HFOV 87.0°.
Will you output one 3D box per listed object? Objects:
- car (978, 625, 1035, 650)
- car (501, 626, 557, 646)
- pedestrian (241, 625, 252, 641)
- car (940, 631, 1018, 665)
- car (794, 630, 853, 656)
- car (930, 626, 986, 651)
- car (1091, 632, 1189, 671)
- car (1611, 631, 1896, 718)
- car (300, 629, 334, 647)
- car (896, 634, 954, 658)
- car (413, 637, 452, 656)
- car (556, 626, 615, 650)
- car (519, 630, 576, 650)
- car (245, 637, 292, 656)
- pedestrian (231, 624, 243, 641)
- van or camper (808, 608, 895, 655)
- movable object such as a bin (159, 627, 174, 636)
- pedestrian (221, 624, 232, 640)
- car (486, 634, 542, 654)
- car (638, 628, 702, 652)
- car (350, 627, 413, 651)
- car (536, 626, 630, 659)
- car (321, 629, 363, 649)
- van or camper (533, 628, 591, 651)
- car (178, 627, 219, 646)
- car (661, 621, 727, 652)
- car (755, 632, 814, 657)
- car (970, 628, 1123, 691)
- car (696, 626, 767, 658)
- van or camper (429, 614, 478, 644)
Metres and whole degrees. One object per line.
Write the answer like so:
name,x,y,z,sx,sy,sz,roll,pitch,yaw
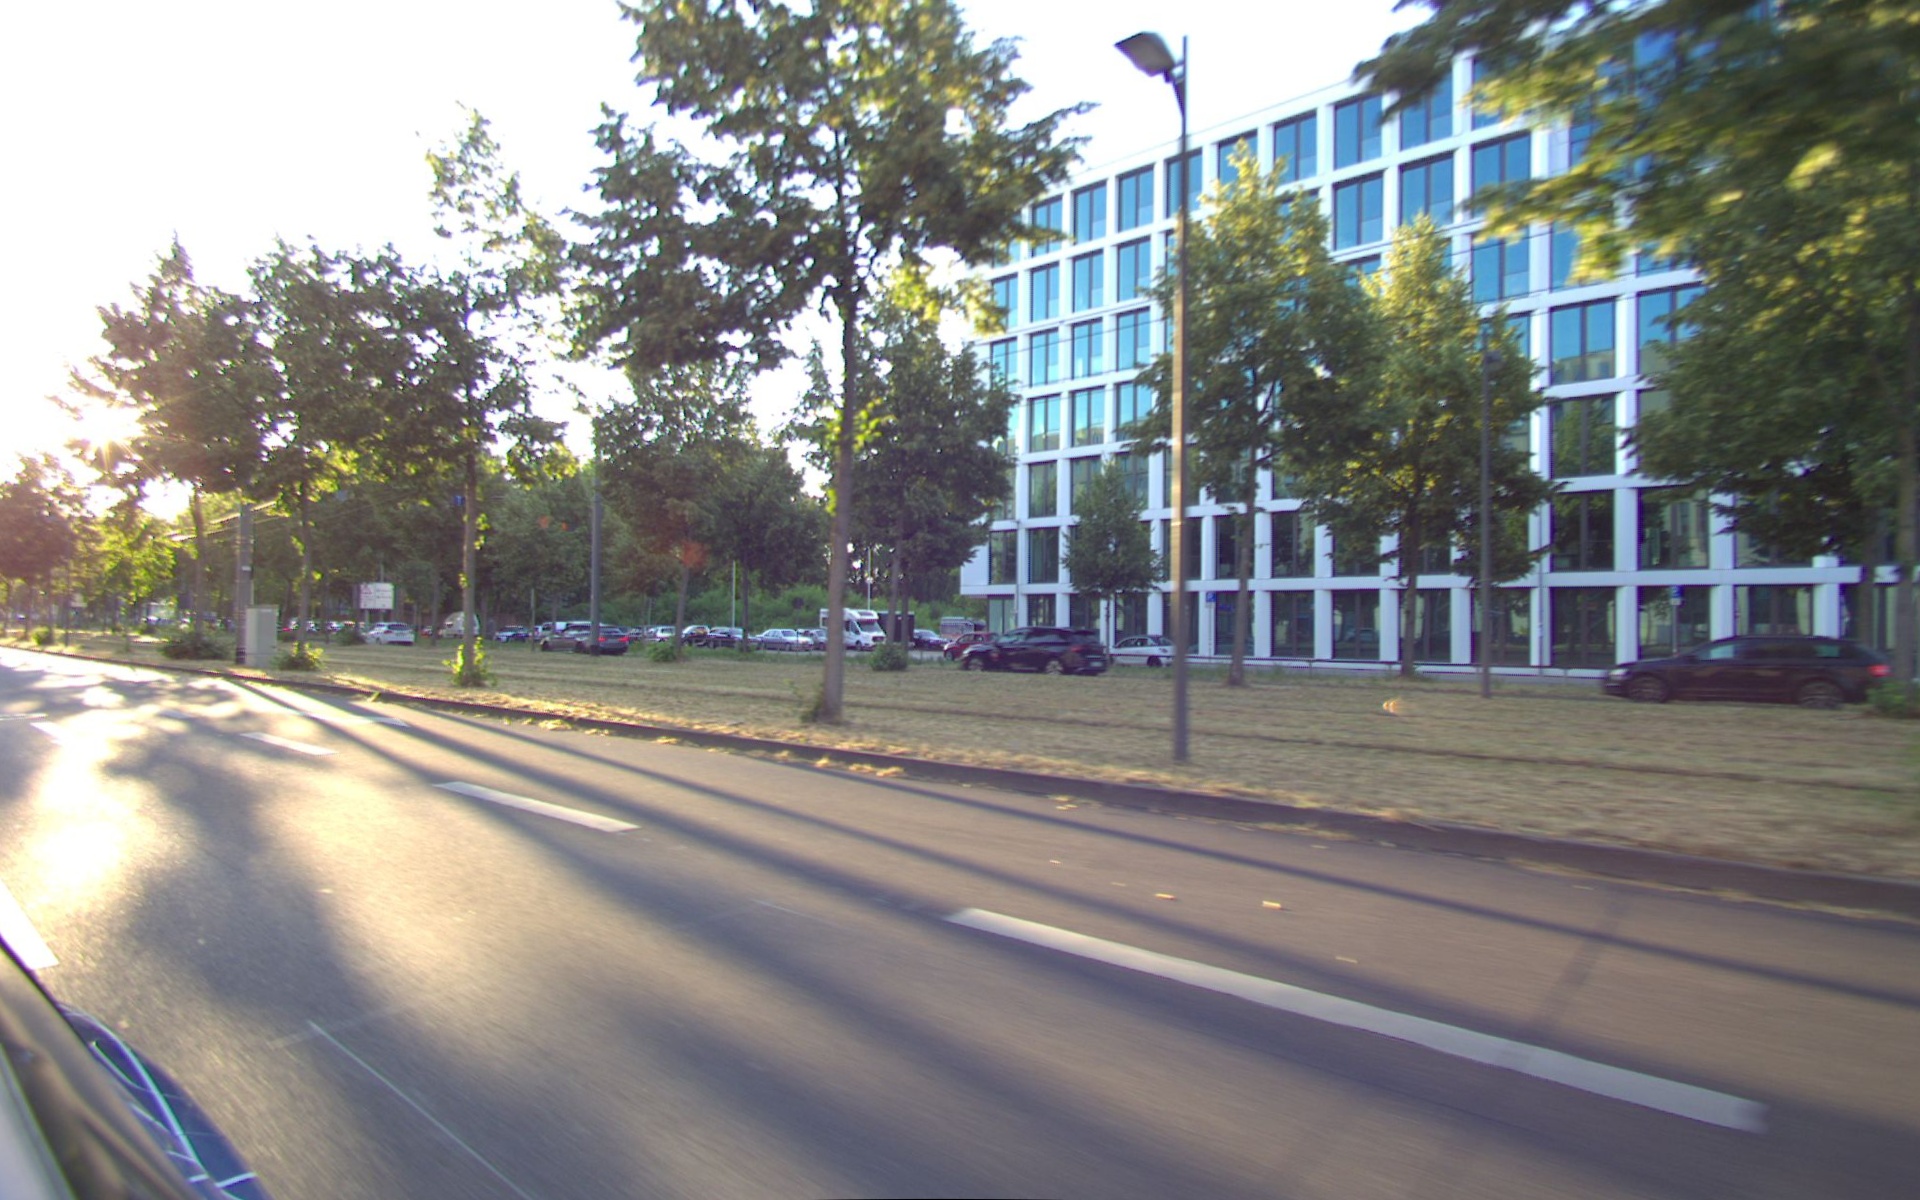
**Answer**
car,3.472,2.806,76.130,4.001,1.825,1.894,-2,-3,44
car,-36.286,3.032,85.294,1.919,1.652,3.949,-1,-2,37
pedestrian,-76.453,3.521,108.419,0.864,1.772,0.687,-1,-2,34
car,0.915,2.347,49.666,3.491,1.594,1.840,-1,-2,42
car,-9.246,2.880,68.304,4.002,1.652,1.894,-2,-3,45
car,-0.158,2.906,75.990,4.001,1.825,1.894,-2,-3,44
car,7.774,2.187,43.779,3.783,1.594,1.840,-1,-2,42
car,15.268,1.369,19.702,4.186,1.513,1.640,-1,-2,40
car,-62.953,3.696,99.077,1.970,1.763,4.163,2,-3,-44
car,-2.530,3.243,72.452,4.002,1.652,1.894,-2,-3,45
car,-51.254,4.470,98.361,3.997,1.763,1.973,-1,-2,40
car,-29.673,3.013,80.215,2.011,1.858,3.945,-2,-3,41
car,-34.357,3.313,84.306,1.919,1.652,3.949,-1,-2,37
car,-50.927,3.416,74.496,4.470,1.342,1.640,-1,-3,40
pedestrian,-76.745,3.455,107.439,0.864,1.884,0.687,-1,-2,34
van or camper,-7.580,2.206,70.257,6.265,3.109,2.679,-2,-2,45
movable object such as a bin,-121.216,4.865,154.668,1.724,1.383,1.536,-2,-3,42
pedestrian,-78.068,3.408,107.695,0.865,1.756,0.686,-1,-3,39
car,-38.575,3.773,87.605,1.922,1.652,3.944,-2,-3,42
car,-20.212,2.771,70.617,1.919,1.652,3.949,-1,-2,37
car,-33.156,2.221,57.991,4.526,1.342,1.640,-1,-3,40
car,-16.212,1.809,43.440,4.737,1.342,1.640,-1,-3,40
car,-58.328,3.671,95.507,4.787,1.763,1.973,-1,-2,41
van or camper,-32.220,3.171,81.980,1.993,1.805,3.958,-1,-2,31
car,-65.371,3.126,86.841,4.178,1.590,1.866,-1,-3,40
car,-18.185,2.495,69.354,1.997,2.029,3.949,-1,-2,38
car,-11.588,2.911,66.767,4.002,1.652,1.894,-2,-3,45
car,2.258,1.527,26.947,3.724,1.559,1.784,-1,-2,40
car,-15.097,2.744,66.760,4.928,2.029,1.973,-1,-3,41
van or camper,-47.549,2.686,95.020,5.490,2.756,2.064,-1,-2,40
